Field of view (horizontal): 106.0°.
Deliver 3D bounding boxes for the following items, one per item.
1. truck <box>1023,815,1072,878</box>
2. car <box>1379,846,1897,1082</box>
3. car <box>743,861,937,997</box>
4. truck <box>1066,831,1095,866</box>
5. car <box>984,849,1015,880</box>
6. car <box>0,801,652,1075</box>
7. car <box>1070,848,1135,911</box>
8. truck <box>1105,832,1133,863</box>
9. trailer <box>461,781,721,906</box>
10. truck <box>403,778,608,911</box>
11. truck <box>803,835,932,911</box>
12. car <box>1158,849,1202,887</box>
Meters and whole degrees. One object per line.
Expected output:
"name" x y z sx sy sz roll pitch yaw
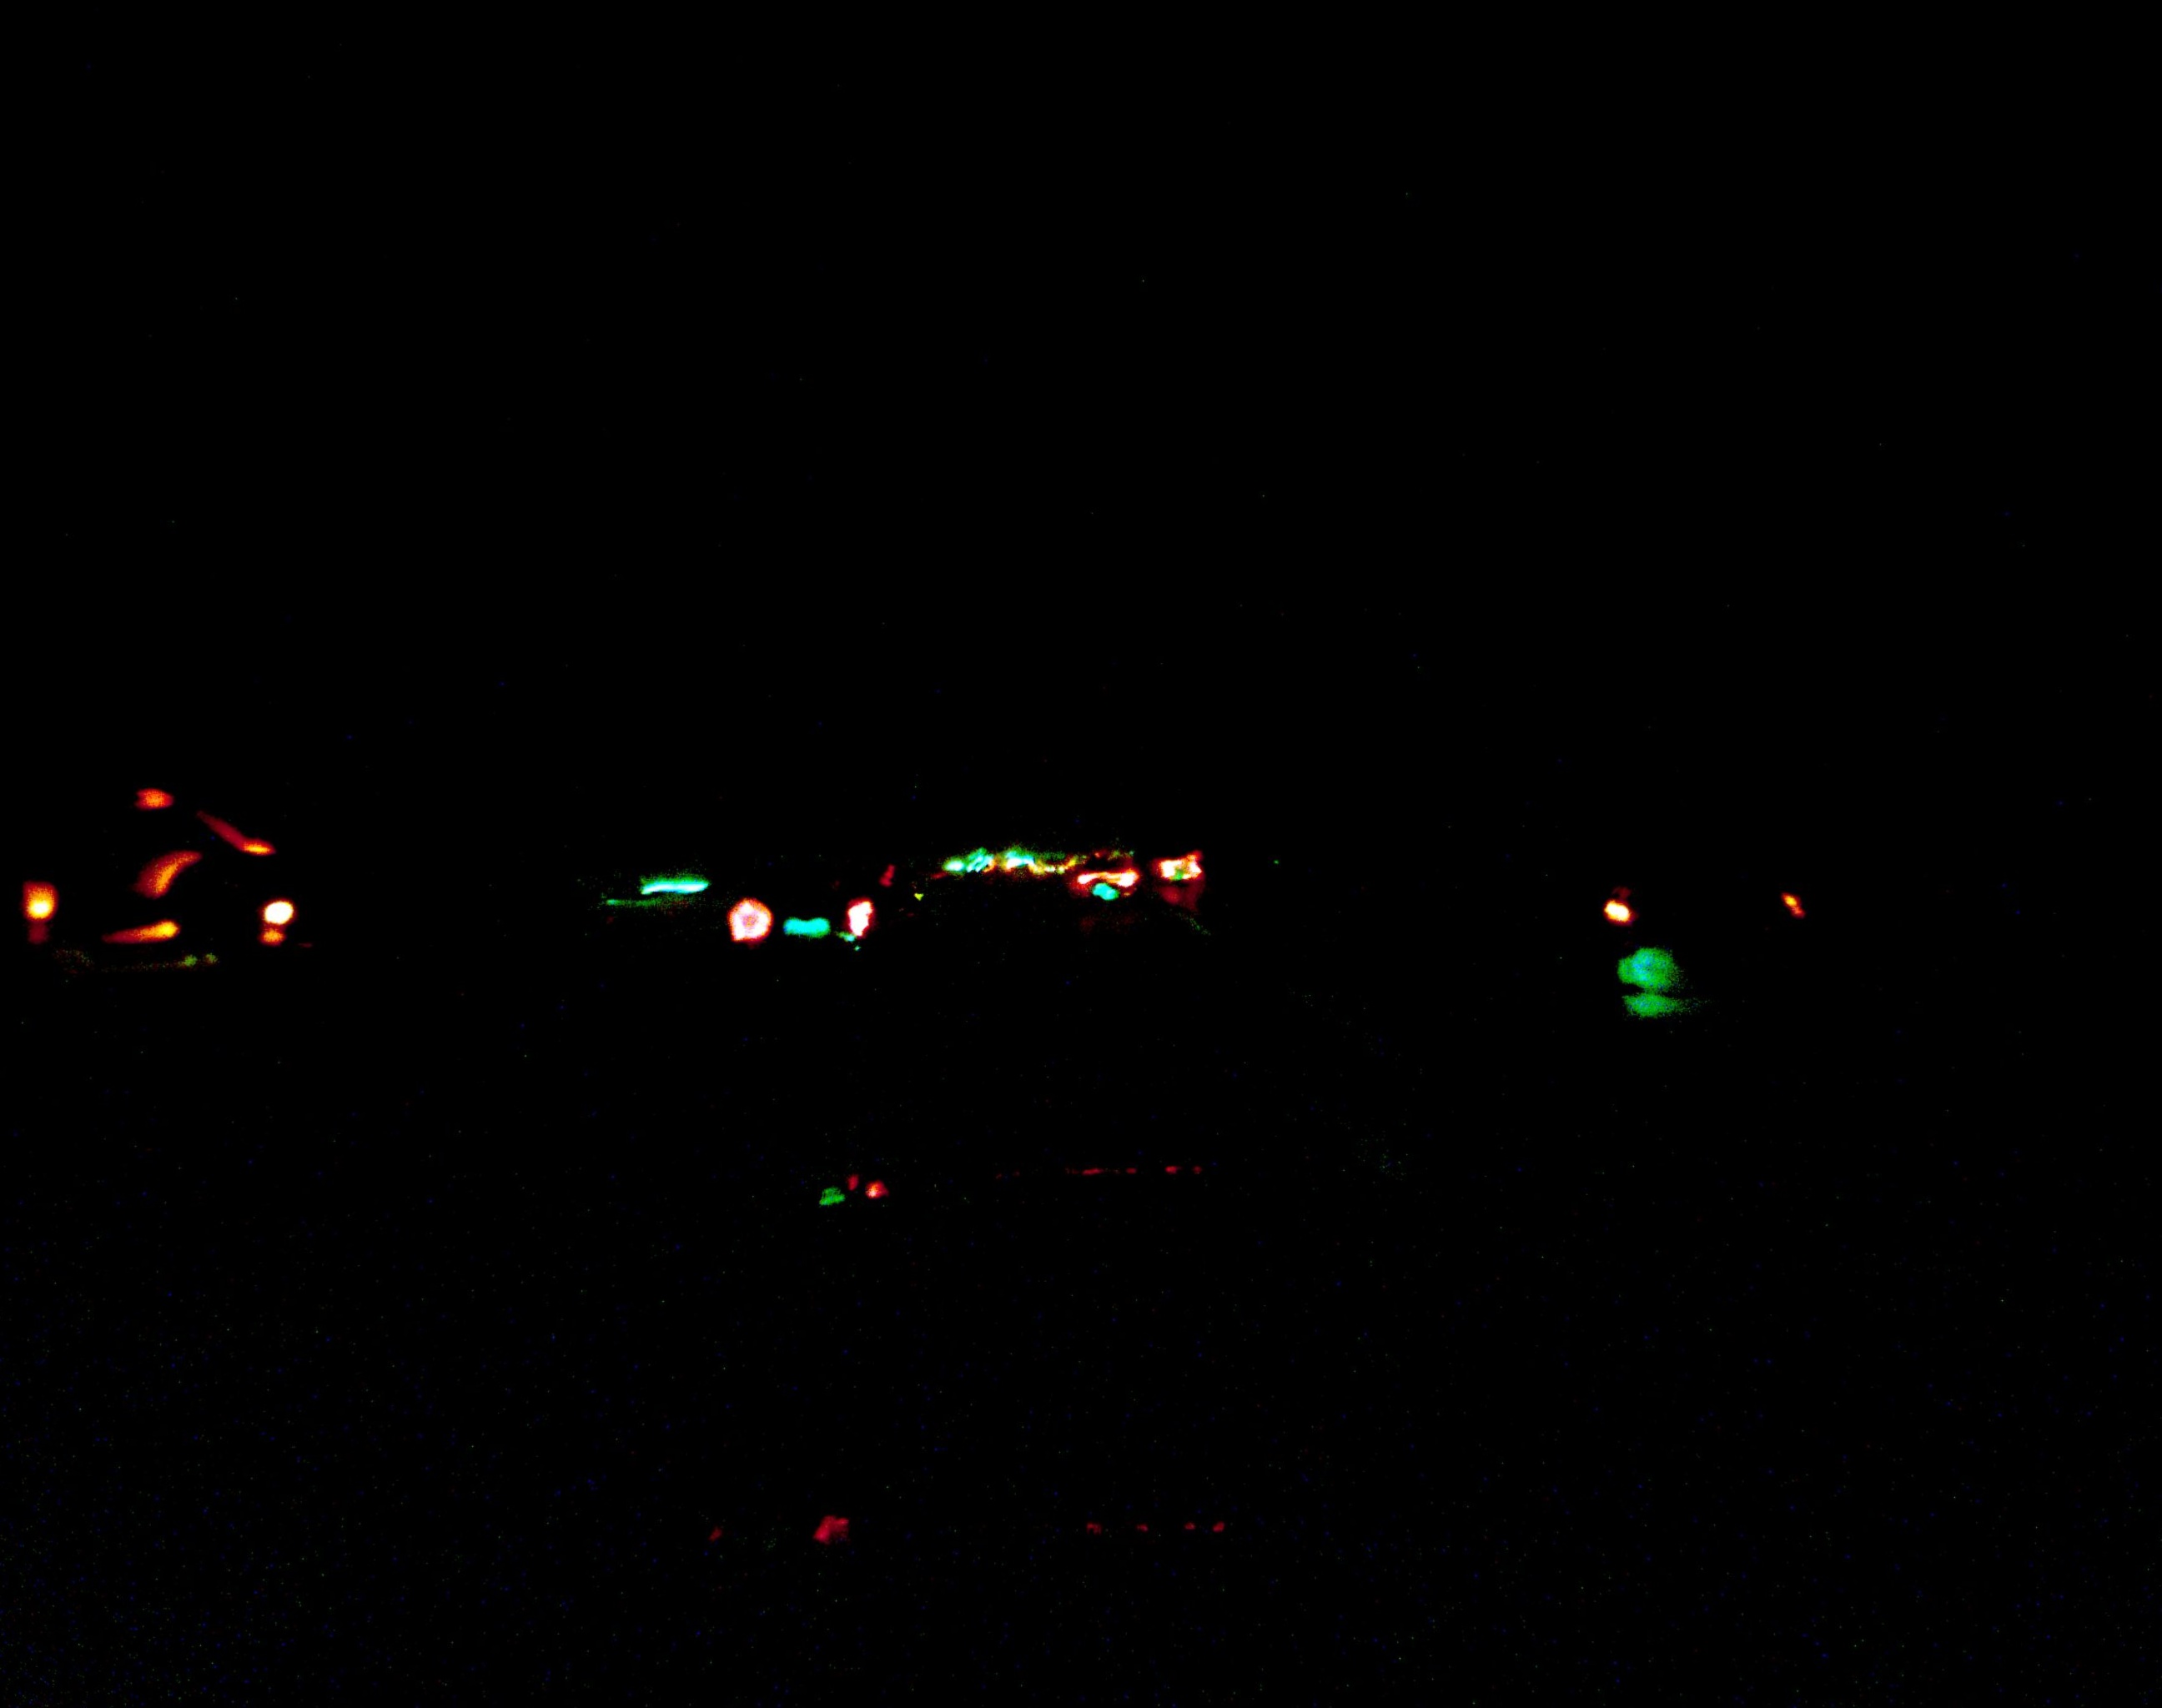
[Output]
"truck" -2.792 -0.506 66.979 3.648 4.737 9.841 -1 0 -3
"car" 4.323 0.695 7.289 1.764 1.457 4.195 -1 0 0
"car" -3.110 0.868 11.394 1.653 1.431 4.241 -1 0 -4
"truck" -0.045 -0.831 135.542 4.237 5.444 10.891 -1 0 3
"car" -6.477 0.819 65.003 2.260 2.273 5.375 -1 0 -5
"car" -7.475 0.666 9.223 2.116 2.104 5.630 -1 0 1
"car" 0.669 0.697 24.725 1.759 1.689 4.002 -1 0 2
"truck" 6.655 -1.060 143.033 4.150 5.215 9.947 -1 0 -2
"trailer" -23.315 -0.378 40.728 3.775 5.028 14.803 -1 0 1
"truck" -23.446 -0.349 33.741 3.776 4.909 6.479 -1 -1 1
"truck" -6.847 0.580 27.009 2.849 2.201 5.854 -1 0 -2
"car" 4.945 0.695 41.132 1.871 1.762 4.001 -1 0 2
